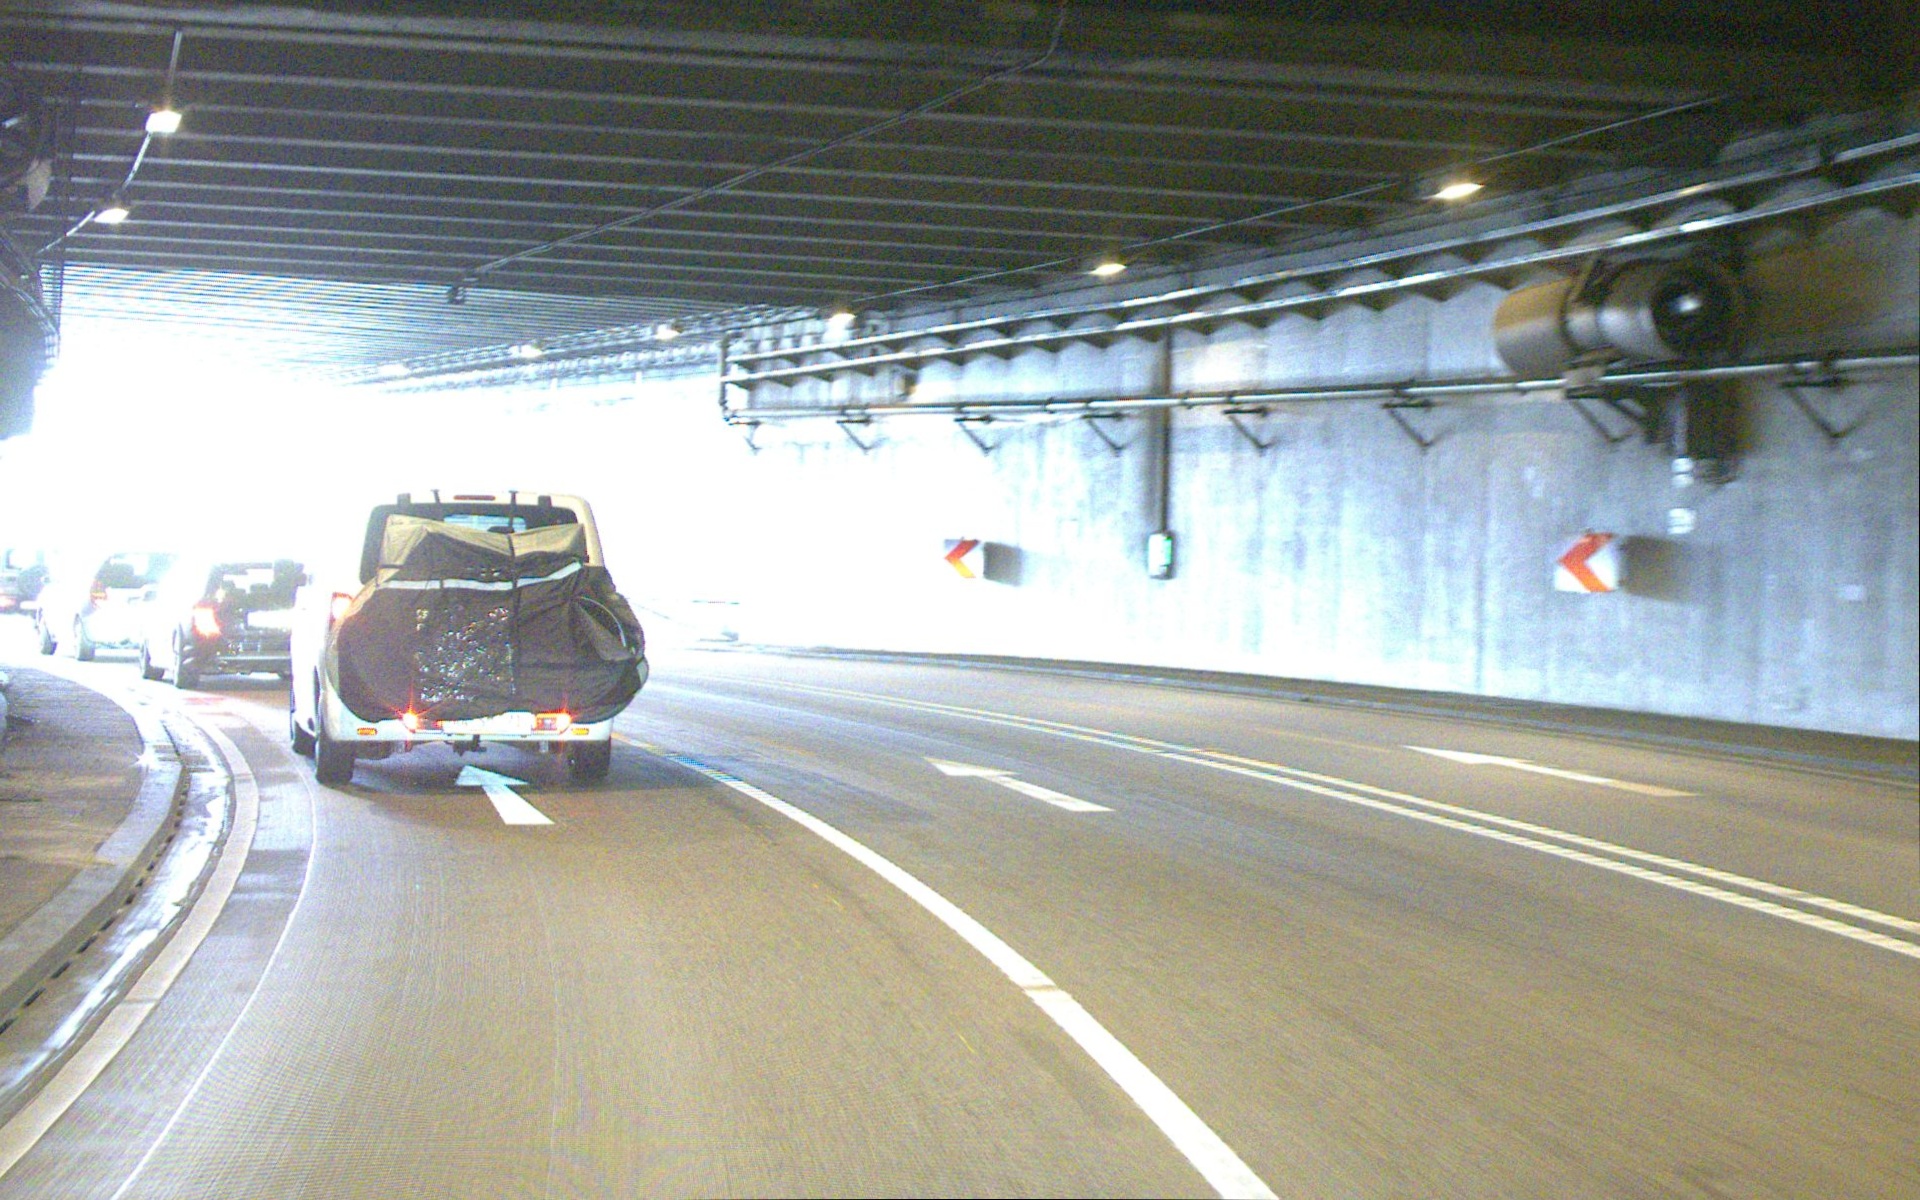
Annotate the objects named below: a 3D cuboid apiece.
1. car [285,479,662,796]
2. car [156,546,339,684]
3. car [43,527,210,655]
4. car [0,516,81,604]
[{"bbox_3d":[-3.349,0.165,22.754,1.993,1.841,5.303,0,1,-13],"label":"car"},{"bbox_3d":[-7.646,0.122,36.719,1.602,1.390,3.278,0,1,-17],"label":"car"},{"bbox_3d":[-11.124,-0.137,45.754,1.602,1.588,3.356,1,1,-23],"label":"car"},{"bbox_3d":[-18.103,-0.784,66.299,1.602,1.624,3.356,1,1,-25],"label":"car"}]
